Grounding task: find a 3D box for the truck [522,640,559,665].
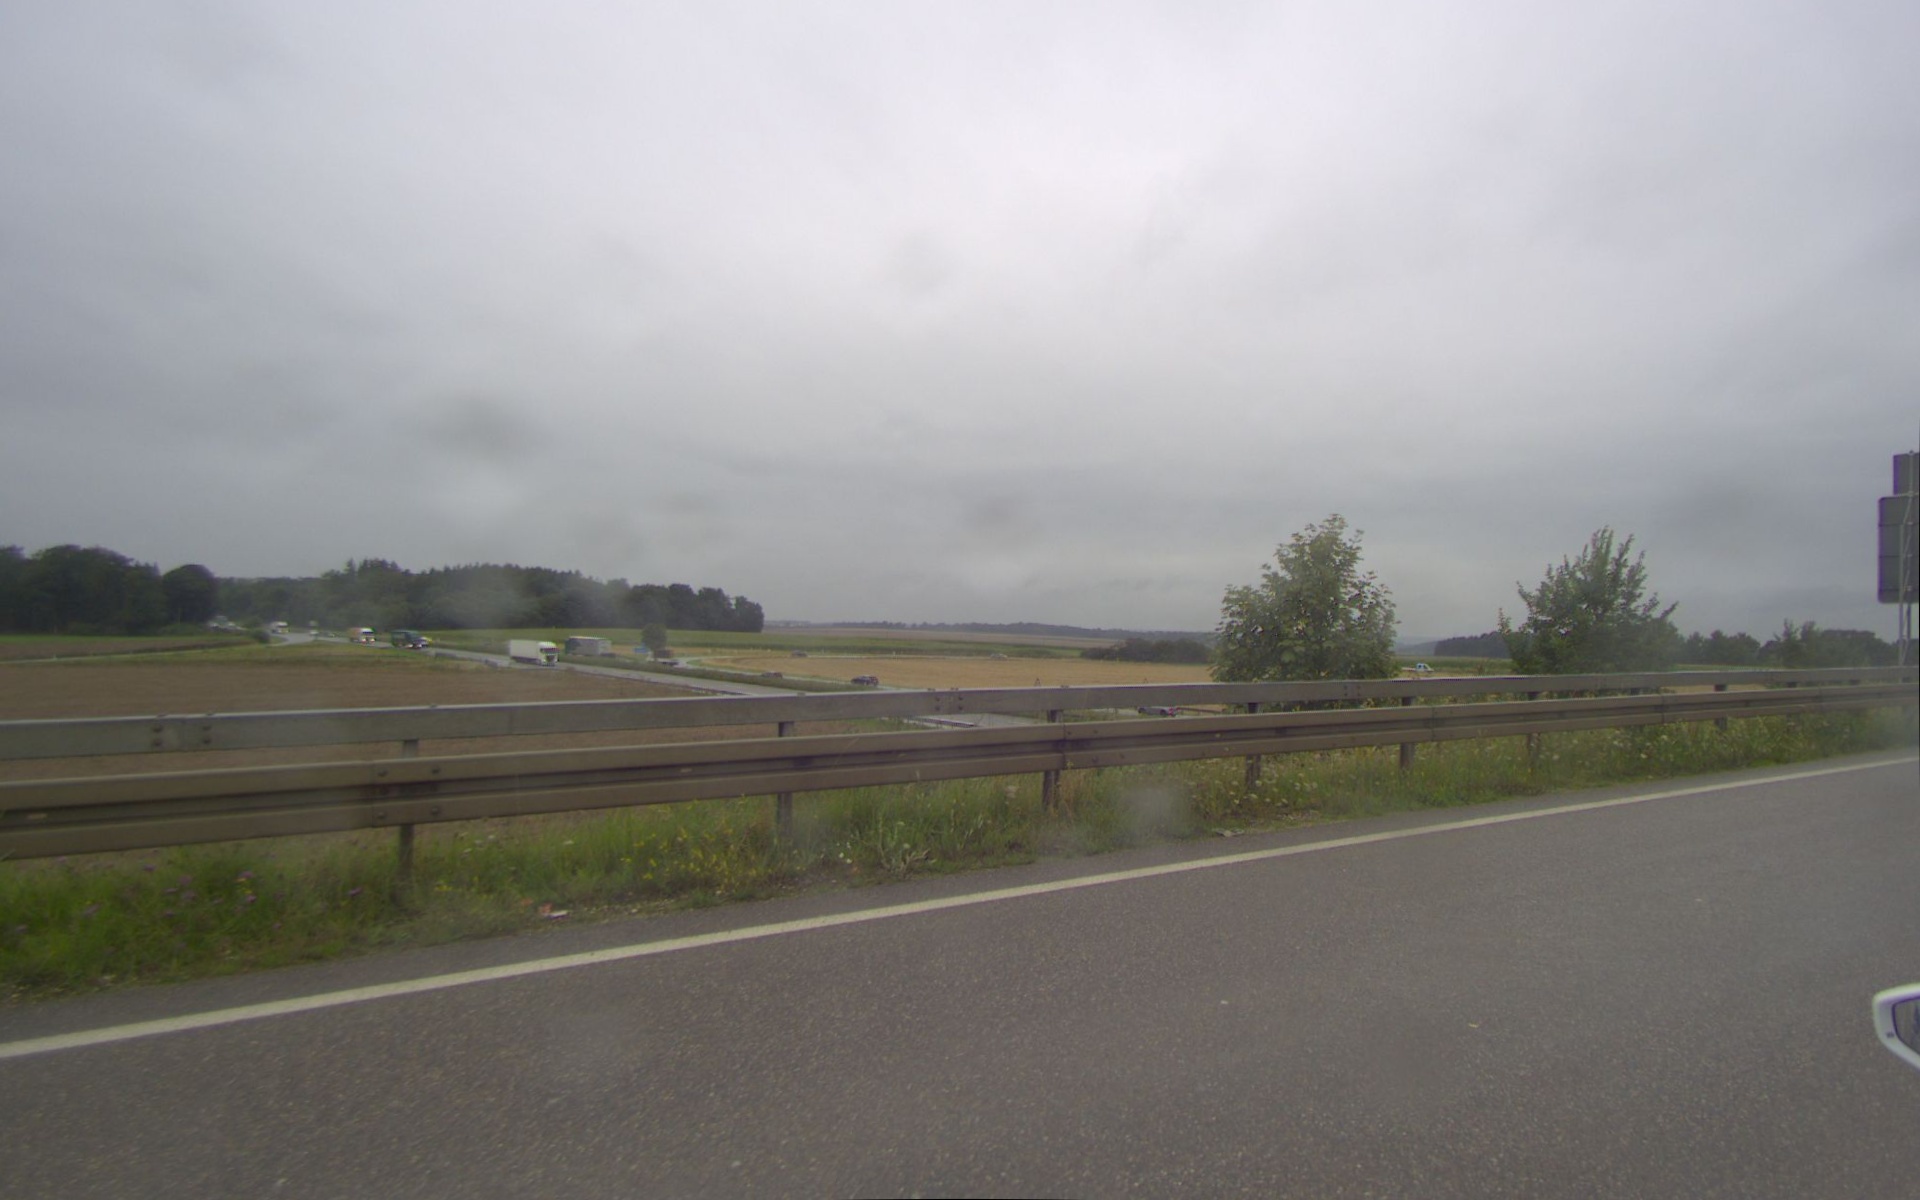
[{"bbox_3d":[-73.793,9.143,176.414,2.765,3.920,10.517,3,-2,-41],"label":"truck"}]
